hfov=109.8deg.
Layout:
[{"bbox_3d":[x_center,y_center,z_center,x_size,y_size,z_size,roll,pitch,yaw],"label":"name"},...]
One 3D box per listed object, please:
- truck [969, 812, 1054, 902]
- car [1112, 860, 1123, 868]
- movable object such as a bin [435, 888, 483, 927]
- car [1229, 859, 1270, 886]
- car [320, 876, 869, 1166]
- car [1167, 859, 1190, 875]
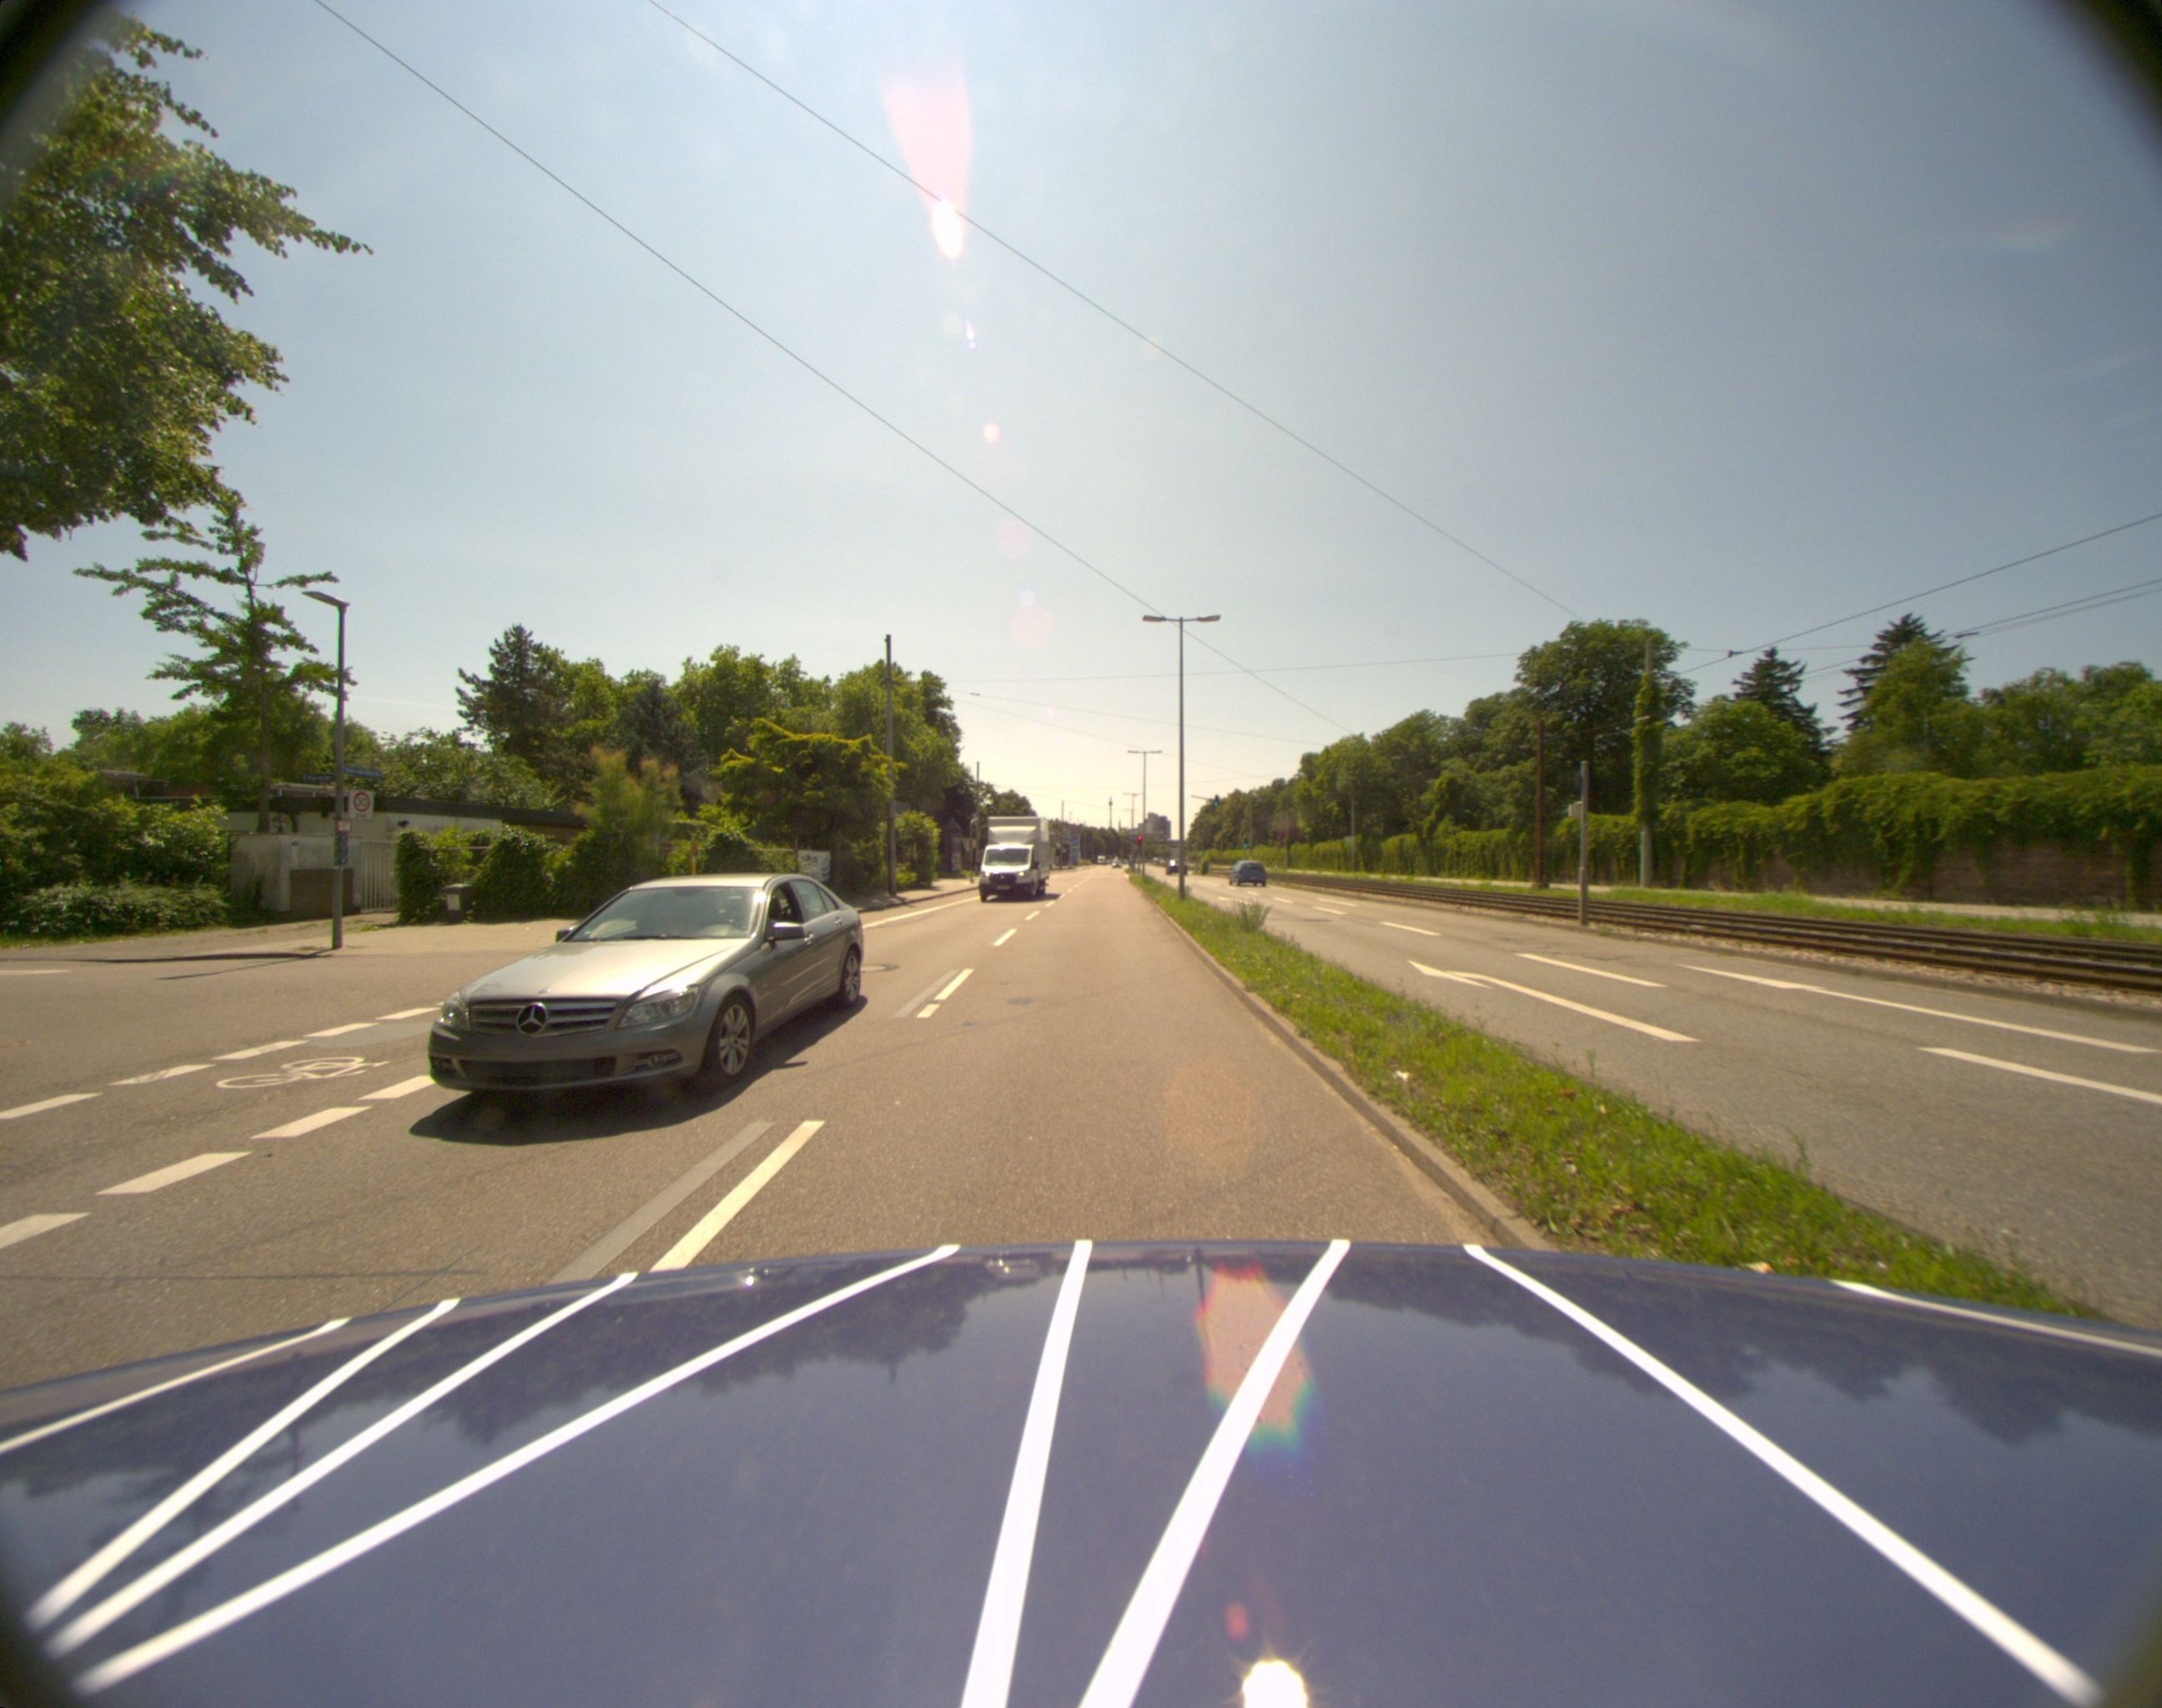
[{"bbox_3d":[-2.701,0.111,31.973,2.294,3.259,8.313,-1,0,3],"label":"truck"},{"bbox_3d":[6.812,1.843,141.452,1.829,1.556,4.001,0,0,4],"label":"car"},{"bbox_3d":[-15.158,1.294,18.525,0.630,0.898,0.637,0,0,3],"label":"movable object such as a bin"},{"bbox_3d":[9.647,1.050,43.751,1.698,1.462,3.791,1,0,2],"label":"car"},{"bbox_3d":[-3.319,1.015,6.305,1.903,1.451,3.970,-1,1,1],"label":"car"},{"bbox_3d":[9.492,1.261,74.061,1.765,1.512,4.097,1,0,1],"label":"car"}]
